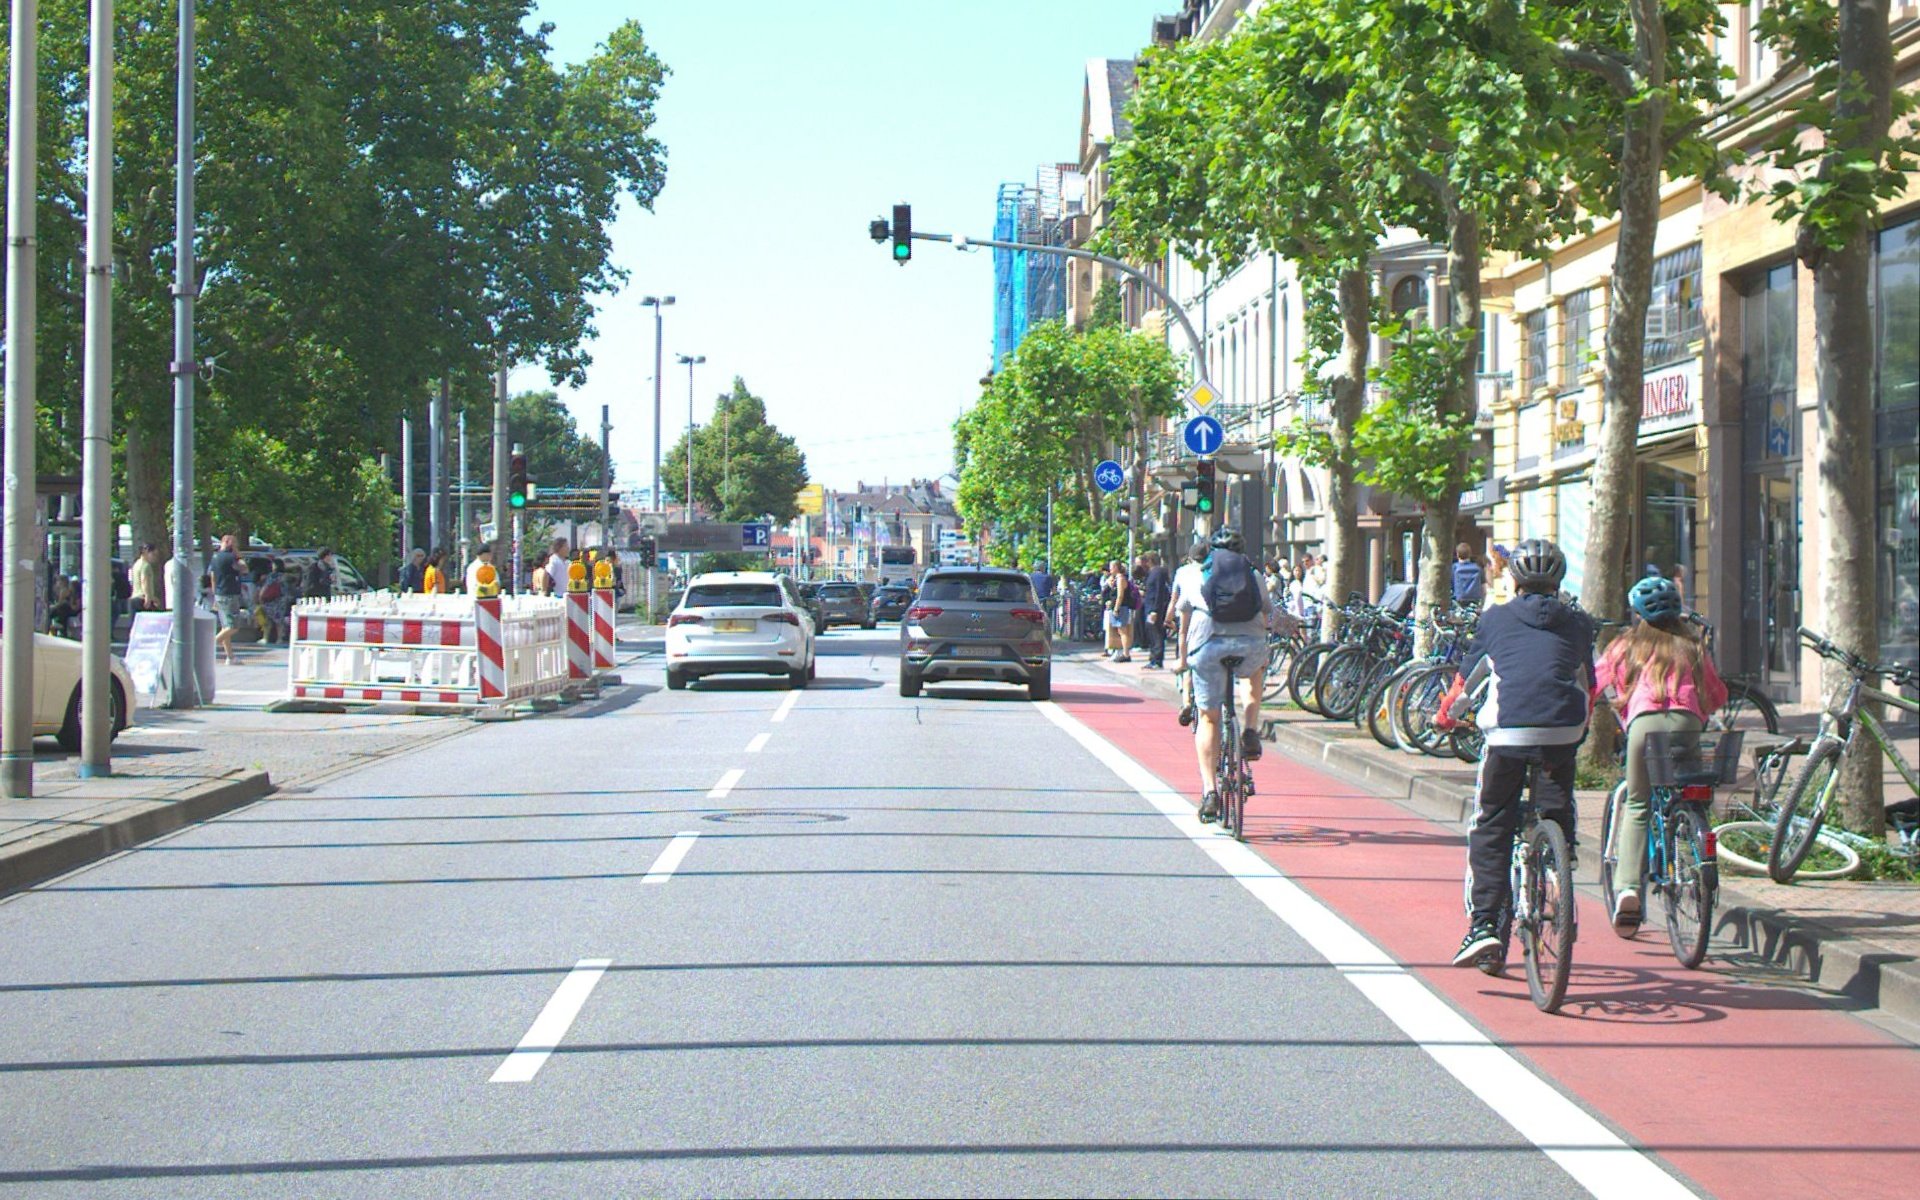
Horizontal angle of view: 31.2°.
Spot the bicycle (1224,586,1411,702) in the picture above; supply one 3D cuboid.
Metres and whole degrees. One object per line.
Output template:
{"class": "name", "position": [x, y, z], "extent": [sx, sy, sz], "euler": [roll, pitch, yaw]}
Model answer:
{"class": "bicycle", "position": [3.965, 0.486, 38.121], "extent": [1.932, 1.253, 0.705], "euler": [1, 0, -20]}

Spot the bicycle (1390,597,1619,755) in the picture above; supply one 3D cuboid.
{"class": "bicycle", "position": [4.310, 0.598, 27.255], "extent": [1.728, 1.213, 0.477], "euler": [1, 0, 1]}

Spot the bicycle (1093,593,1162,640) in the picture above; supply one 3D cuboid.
{"class": "bicycle", "position": [3.564, 0.353, 73.144], "extent": [1.420, 0.976, 0.445], "euler": [-1, 1, 0]}

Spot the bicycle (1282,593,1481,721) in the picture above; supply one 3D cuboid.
{"class": "bicycle", "position": [4.060, 0.545, 33.202], "extent": [1.844, 1.197, 0.545], "euler": [1, 0, 1]}

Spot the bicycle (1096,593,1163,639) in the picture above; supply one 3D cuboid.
{"class": "bicycle", "position": [3.678, 0.346, 74.529], "extent": [1.420, 0.976, 0.401], "euler": [-1, 1, 0]}

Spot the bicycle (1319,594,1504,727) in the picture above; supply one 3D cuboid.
{"class": "bicycle", "position": [4.196, 0.556, 31.985], "extent": [1.649, 1.197, 0.474], "euler": [1, 0, 1]}

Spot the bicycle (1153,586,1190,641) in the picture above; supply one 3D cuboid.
{"class": "bicycle", "position": [4.440, 0.284, 72.103], "extent": [0.400, 1.110, 1.424], "euler": [0, 1, 20]}

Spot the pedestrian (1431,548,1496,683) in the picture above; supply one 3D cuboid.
{"class": "pedestrian", "position": [6.777, 0.221, 46.279], "extent": [0.657, 1.784, 1.233], "euler": [1, -2, -1]}

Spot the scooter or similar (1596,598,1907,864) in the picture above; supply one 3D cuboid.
{"class": "scooter or similar", "position": [4.028, 0.653, 17.593], "extent": [1.475, 1.270, 0.669], "euler": [2, 0, 10]}

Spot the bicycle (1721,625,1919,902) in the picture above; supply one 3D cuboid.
{"class": "bicycle", "position": [4.416, 0.740, 15.412], "extent": [1.840, 1.182, 0.670], "euler": [2, 0, 4]}

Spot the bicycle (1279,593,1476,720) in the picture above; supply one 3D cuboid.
{"class": "bicycle", "position": [4.086, 0.547, 33.709], "extent": [1.844, 1.197, 0.608], "euler": [1, 0, 1]}

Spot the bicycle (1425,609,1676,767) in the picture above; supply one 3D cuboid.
{"class": "bicycle", "position": [4.256, 0.632, 24.844], "extent": [1.728, 1.105, 0.402], "euler": [1, 0, 1]}

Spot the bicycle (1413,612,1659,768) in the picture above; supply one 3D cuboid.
{"class": "bicycle", "position": [4.222, 0.657, 25.258], "extent": [1.728, 1.105, 0.402], "euler": [1, 0, 1]}

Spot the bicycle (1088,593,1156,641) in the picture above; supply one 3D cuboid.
{"class": "bicycle", "position": [3.422, 0.357, 72.681], "extent": [1.420, 0.976, 0.445], "euler": [-1, 1, 0]}

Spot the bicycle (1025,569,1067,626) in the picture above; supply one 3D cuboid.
{"class": "bicycle", "position": [1.536, -0.057, 61.593], "extent": [0.647, 0.994, 2.031], "euler": [1, 0, -1]}

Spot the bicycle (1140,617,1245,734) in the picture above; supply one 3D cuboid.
{"class": "bicycle", "position": [2.134, 0.678, 31.794], "extent": [0.774, 1.002, 2.329], "euler": [0, 1, -1]}

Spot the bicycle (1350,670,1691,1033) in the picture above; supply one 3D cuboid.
{"class": "bicycle", "position": [1.972, 0.853, 12.403], "extent": [0.698, 1.123, 2.082], "euler": [2, 0, -5]}

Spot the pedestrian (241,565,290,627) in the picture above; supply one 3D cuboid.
{"class": "pedestrian", "position": [-12.932, -0.081, 64.037], "extent": [0.633, 1.140, 0.664], "euler": [1, 0, 20]}

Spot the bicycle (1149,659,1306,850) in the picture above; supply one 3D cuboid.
{"class": "bicycle", "position": [1.478, 0.837, 19.279], "extent": [0.630, 0.977, 2.089], "euler": [1, 0, -2]}

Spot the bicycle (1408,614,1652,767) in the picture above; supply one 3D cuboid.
{"class": "bicycle", "position": [4.248, 0.670, 25.677], "extent": [1.728, 1.105, 0.477], "euler": [1, 0, 1]}

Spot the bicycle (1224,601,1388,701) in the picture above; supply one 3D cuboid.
{"class": "bicycle", "position": [3.922, 0.570, 39.002], "extent": [1.781, 1.118, 0.563], "euler": [0, 0, -4]}

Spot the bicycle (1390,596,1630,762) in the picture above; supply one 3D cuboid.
{"class": "bicycle", "position": [4.158, 0.591, 26.037], "extent": [1.728, 1.213, 0.477], "euler": [1, 0, 1]}

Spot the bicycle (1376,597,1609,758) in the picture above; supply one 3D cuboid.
{"class": "bicycle", "position": [4.135, 0.595, 26.762], "extent": [1.728, 1.213, 0.477], "euler": [1, 0, 1]}

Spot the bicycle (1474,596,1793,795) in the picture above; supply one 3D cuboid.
{"class": "bicycle", "position": [4.390, 0.616, 22.511], "extent": [1.931, 1.244, 0.736], "euler": [1, 0, 1]}

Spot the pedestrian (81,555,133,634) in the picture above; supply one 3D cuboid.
{"class": "pedestrian", "position": [-16.039, -0.105, 64.624], "extent": [0.633, 1.473, 0.730], "euler": [1, 0, 20]}

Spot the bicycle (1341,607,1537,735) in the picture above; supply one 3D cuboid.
{"class": "bicycle", "position": [4.233, 0.624, 30.463], "extent": [1.649, 1.091, 0.607], "euler": [1, 0, 1]}

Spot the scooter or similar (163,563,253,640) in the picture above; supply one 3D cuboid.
{"class": "scooter or similar", "position": [-14.209, 0.027, 64.969], "extent": [1.278, 1.416, 1.037], "euler": [1, 0, 29]}

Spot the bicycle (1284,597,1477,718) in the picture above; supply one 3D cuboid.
{"class": "bicycle", "position": [4.191, 0.568, 34.341], "extent": [1.844, 1.160, 0.659], "euler": [1, 0, 1]}

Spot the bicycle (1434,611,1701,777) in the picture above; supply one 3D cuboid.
{"class": "bicycle", "position": [4.223, 0.647, 23.991], "extent": [1.728, 1.105, 0.736], "euler": [1, 0, 1]}

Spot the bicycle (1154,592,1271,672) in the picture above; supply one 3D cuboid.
{"class": "bicycle", "position": [3.583, 0.447, 48.876], "extent": [0.600, 1.078, 1.839], "euler": [-2, 2, -36]}

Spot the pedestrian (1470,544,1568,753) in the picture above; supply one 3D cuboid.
{"class": "pedestrian", "position": [4.371, 0.372, 26.906], "extent": [0.615, 1.607, 0.745], "euler": [1, 0, 0]}

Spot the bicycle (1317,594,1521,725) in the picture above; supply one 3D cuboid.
{"class": "bicycle", "position": [4.315, 0.557, 32.400], "extent": [1.844, 1.197, 0.474], "euler": [1, 0, 1]}

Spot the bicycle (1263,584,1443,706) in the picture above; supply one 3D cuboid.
{"class": "bicycle", "position": [4.286, 0.488, 37.527], "extent": [1.820, 1.304, 0.689], "euler": [1, 0, -21]}

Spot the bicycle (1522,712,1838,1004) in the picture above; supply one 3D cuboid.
{"class": "bicycle", "position": [2.763, 0.963, 13.408], "extent": [0.600, 0.922, 2.088], "euler": [2, 1, -5]}
